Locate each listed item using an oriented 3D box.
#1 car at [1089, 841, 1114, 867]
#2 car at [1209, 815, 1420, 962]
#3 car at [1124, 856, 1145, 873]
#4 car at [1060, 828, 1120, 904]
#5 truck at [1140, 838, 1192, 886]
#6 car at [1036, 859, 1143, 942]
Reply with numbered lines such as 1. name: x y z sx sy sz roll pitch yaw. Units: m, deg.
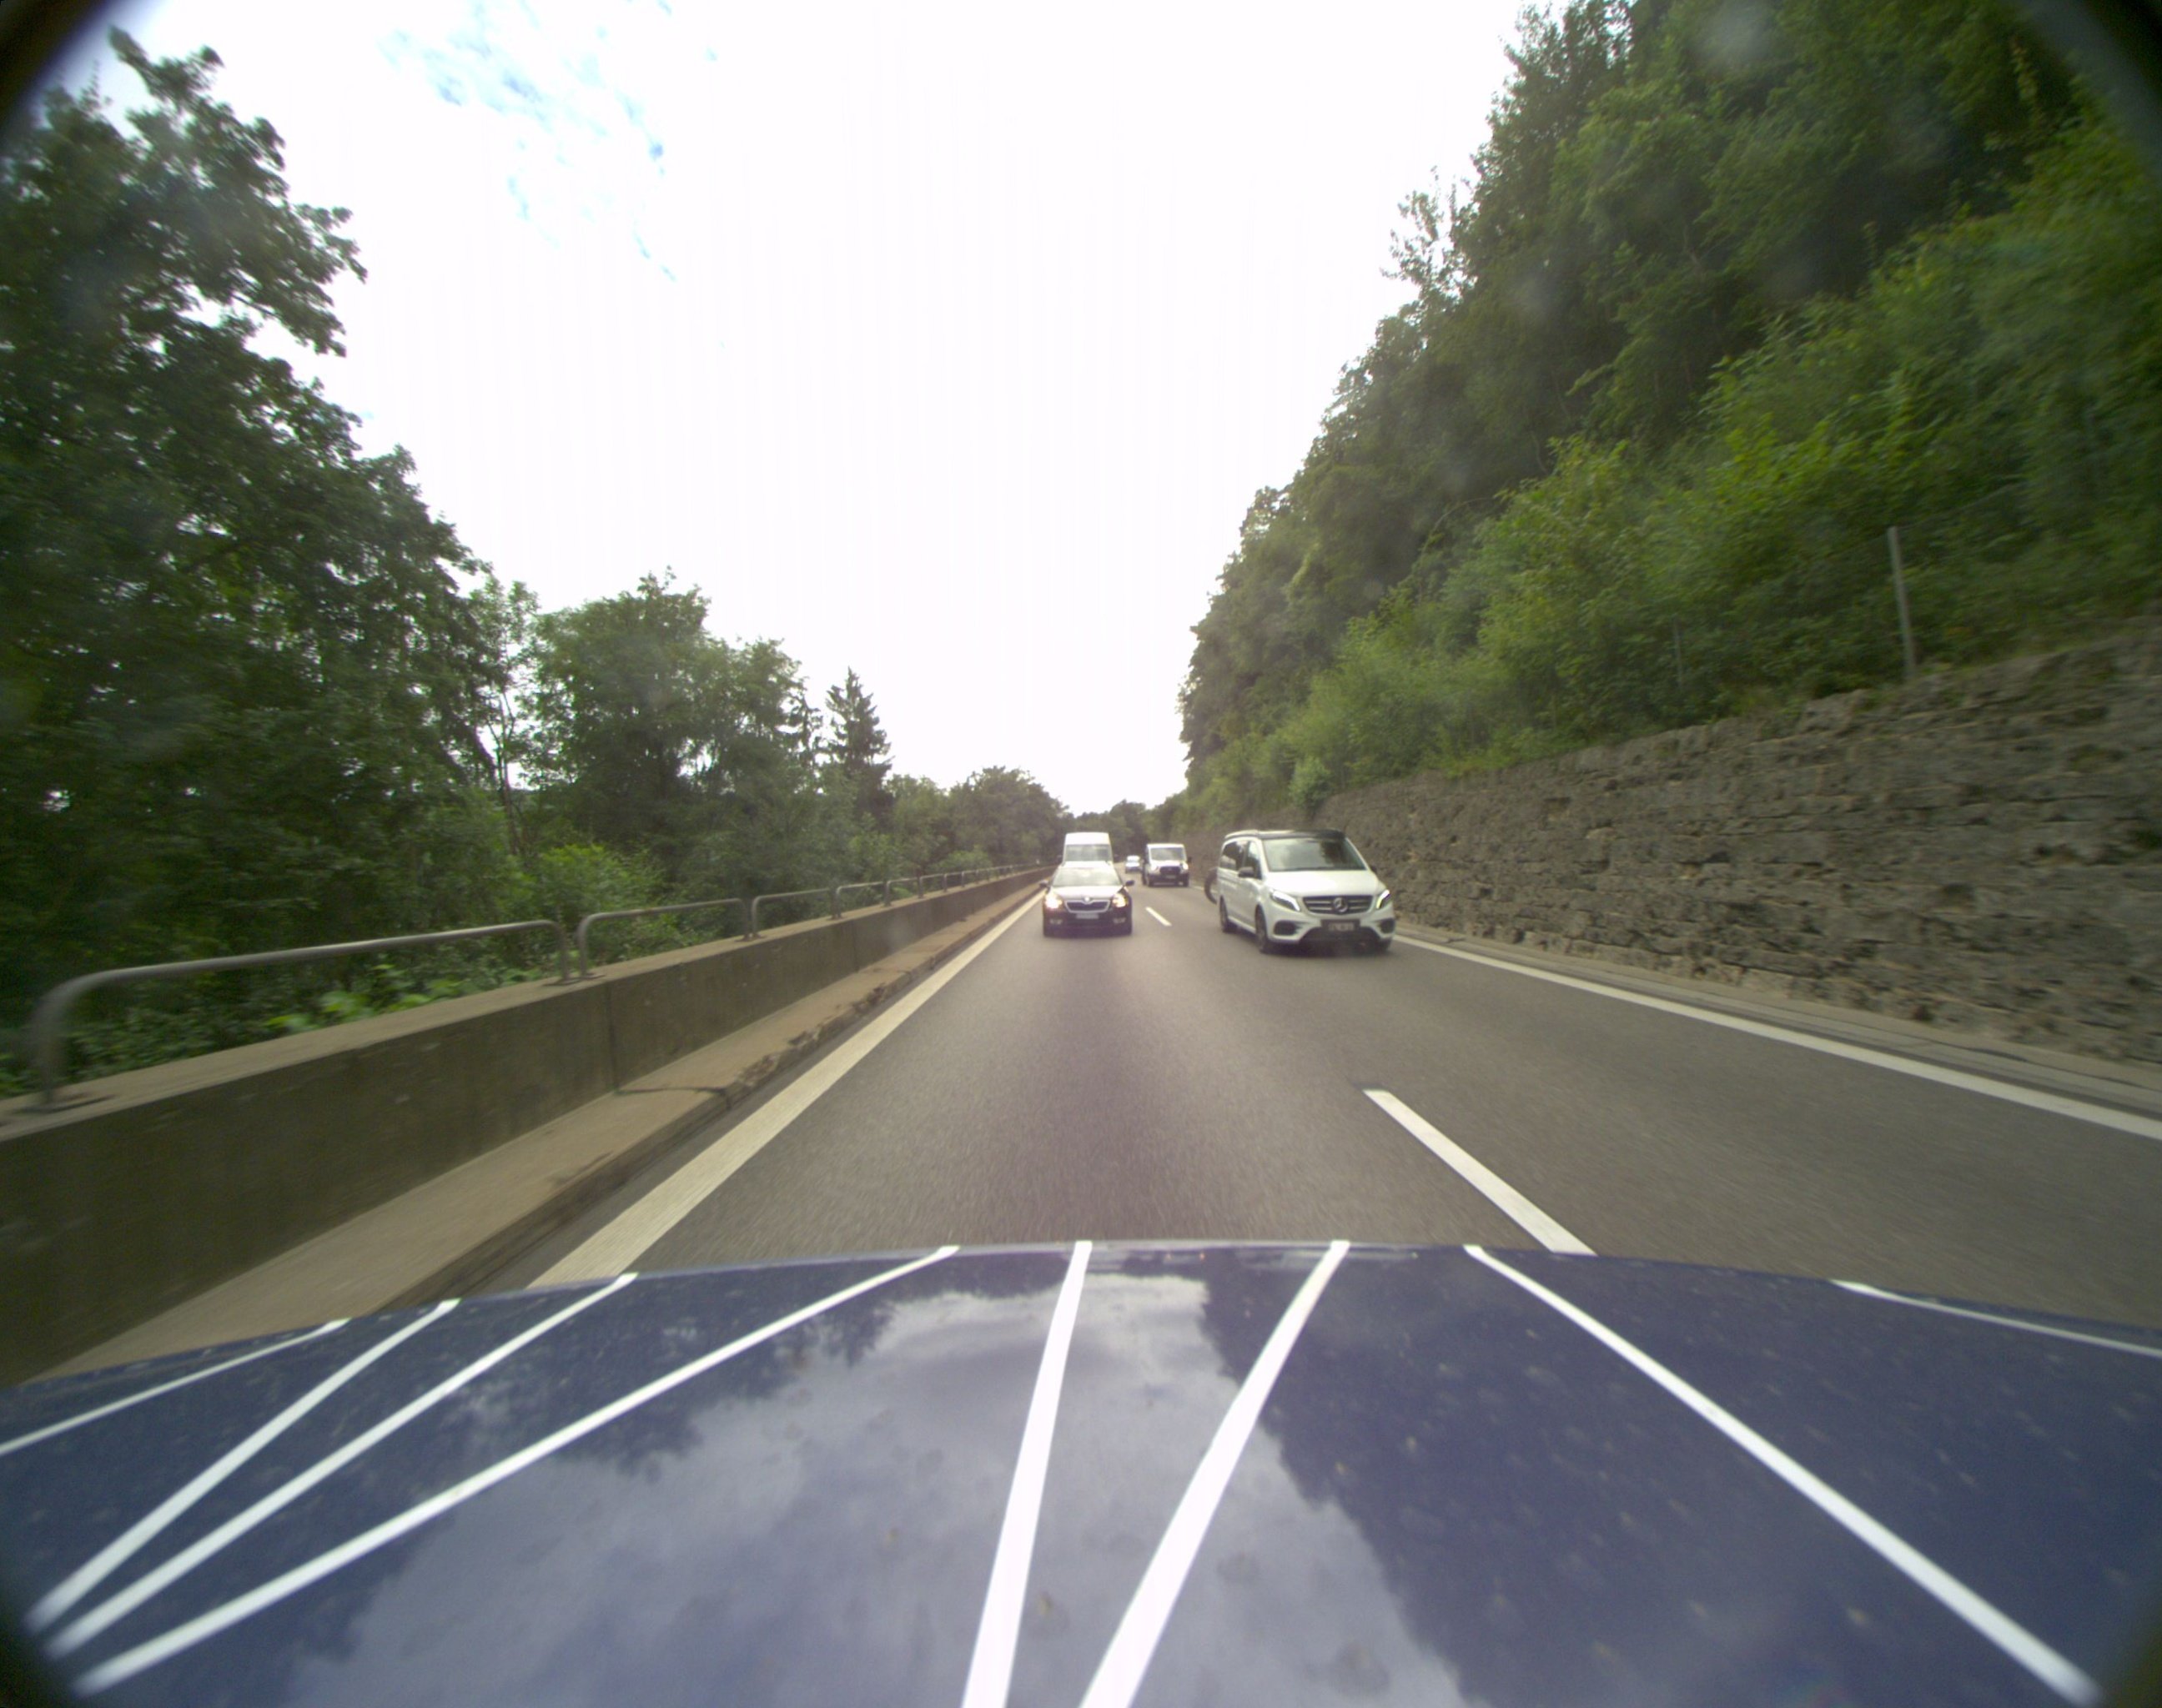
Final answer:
1. car: 2.469 -0.021 90.089 2.275 2.941 7.188 -1 1 6
2. car: 3.726 0.478 13.537 1.998 1.941 6.148 -3 0 2
3. car: 5.194 1.010 74.441 1.711 1.568 4.602 -3 0 0
4. car: 0.439 0.390 28.790 1.998 2.550 5.918 -1 1 3
5. truck: 4.400 0.399 40.278 1.998 2.266 6.585 -3 0 1
6. car: 0.099 0.882 17.007 1.913 1.391 5.695 -3 0 -1
